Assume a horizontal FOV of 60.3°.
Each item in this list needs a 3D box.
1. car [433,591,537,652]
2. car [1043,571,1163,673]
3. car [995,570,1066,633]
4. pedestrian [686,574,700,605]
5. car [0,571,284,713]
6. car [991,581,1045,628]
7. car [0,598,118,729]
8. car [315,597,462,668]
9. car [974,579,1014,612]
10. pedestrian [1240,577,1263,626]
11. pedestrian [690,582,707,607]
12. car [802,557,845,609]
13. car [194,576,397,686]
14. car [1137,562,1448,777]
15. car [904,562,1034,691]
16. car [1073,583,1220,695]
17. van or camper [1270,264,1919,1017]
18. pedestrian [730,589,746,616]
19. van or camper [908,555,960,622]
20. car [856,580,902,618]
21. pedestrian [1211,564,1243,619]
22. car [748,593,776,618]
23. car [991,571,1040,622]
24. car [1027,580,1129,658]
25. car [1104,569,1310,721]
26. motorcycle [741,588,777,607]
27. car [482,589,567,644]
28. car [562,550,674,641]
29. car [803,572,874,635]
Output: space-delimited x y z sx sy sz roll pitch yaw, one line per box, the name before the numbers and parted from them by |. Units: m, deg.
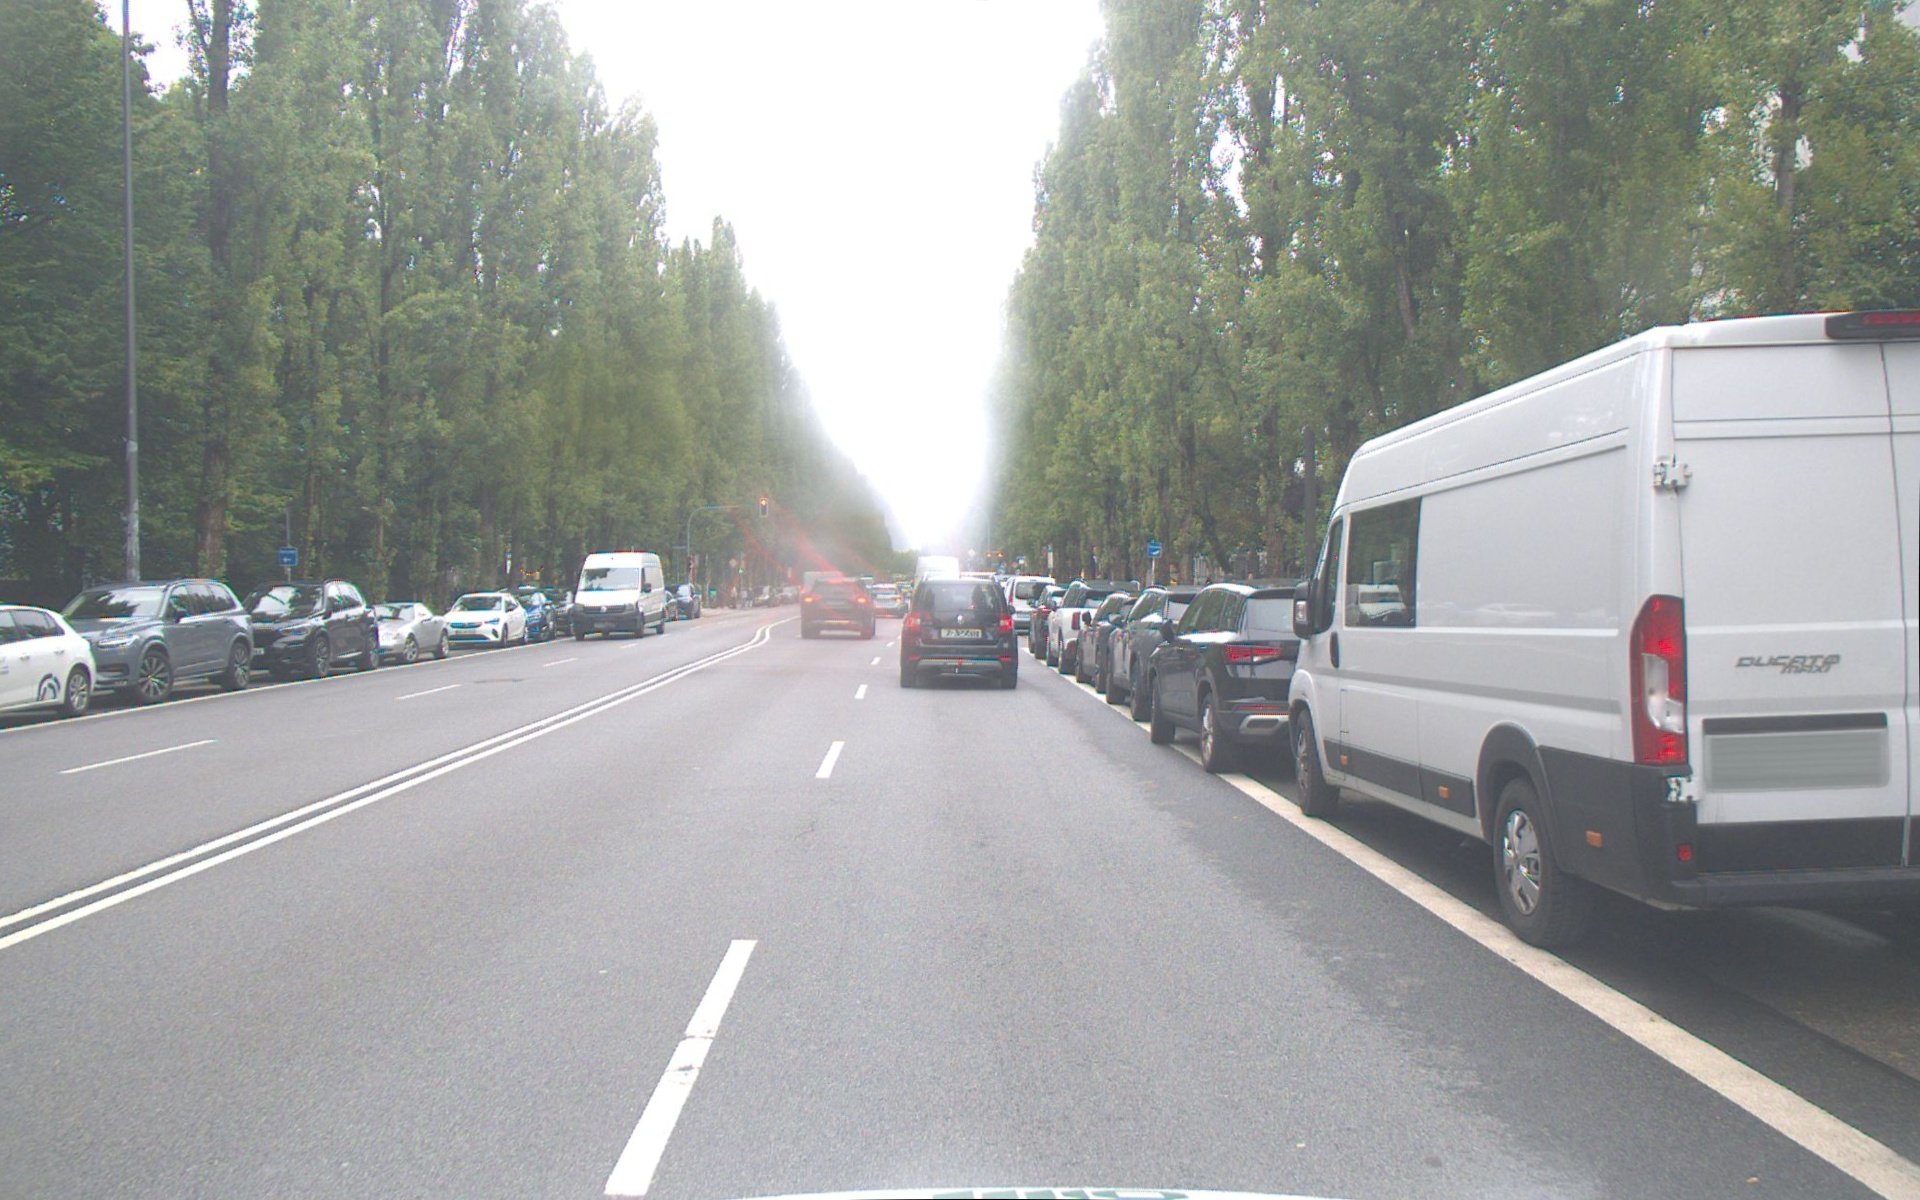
car | -12.849 0.539 44.975 1.735 1.477 4.231 -3 1 -3
car | 2.537 0.339 30.298 1.707 1.704 4.579 0 1 -1
car | 2.185 0.010 52.322 1.814 1.914 4.166 0 1 -3
pedestrian | -14.187 -0.557 87.853 0.647 1.604 0.530 -1 0 -1
car | -12.144 0.539 24.888 1.871 1.820 5.178 -3 1 -2
car | 2.063 0.121 59.767 1.705 1.620 4.211 0 1 -1
car | -11.886 0.768 19.586 1.670 1.484 4.271 -2 1 -2
car | -12.441 0.665 36.280 1.789 1.357 4.232 -3 1 -2
car | 1.545 -0.220 76.403 1.700 1.501 3.562 0 1 -1
pedestrian | 9.632 0.052 54.693 0.556 1.606 0.867 -1 0 -2
pedestrian | -17.722 -0.380 112.093 0.874 1.684 0.866 -1 0 -39
car | -5.833 -0.739 70.856 1.746 2.148 4.022 -1 1 -4
car | -12.205 0.507 30.755 1.902 1.798 4.893 -3 1 -3
car | 2.858 0.513 15.232 1.749 1.677 4.415 0 1 -3
car | 0.091 0.362 25.737 1.818 1.800 3.999 2 0 -1
car | 2.771 0.529 25.373 1.668 1.546 4.294 0 1 -1
van or camper | 3.384 0.108 8.914 2.095 2.584 6.416 0 0 -1
pedestrian | -14.781 0.167 110.059 0.950 1.798 0.677 -1 0 -23
van or camper | -1.055 -0.473 65.842 1.936 2.593 4.023 0 1 -3
car | -3.592 -0.079 73.916 1.953 1.588 3.999 -1 1 -2
pedestrian | 8.797 -0.283 54.526 0.836 1.747 0.867 -2 0 -2
car | -14.566 0.382 121.821 1.654 1.814 3.774 0 1 -1
car | 2.166 -0.166 65.043 1.700 1.928 4.024 0 1 -1
car | 2.505 0.354 35.978 1.842 1.567 4.464 0 1 -1
car | 2.894 0.453 20.347 1.748 1.646 4.637 0 1 -1
motorcycle | -13.775 -0.168 113.451 2.315 1.291 0.930 0 0 -1
car | -12.899 0.471 49.164 1.675 1.476 3.584 -3 1 -3
car | -10.443 -0.159 51.092 2.183 2.526 6.755 -2 1 -2
car | -3.300 0.055 45.571 1.745 1.648 4.024 0 1 -1
